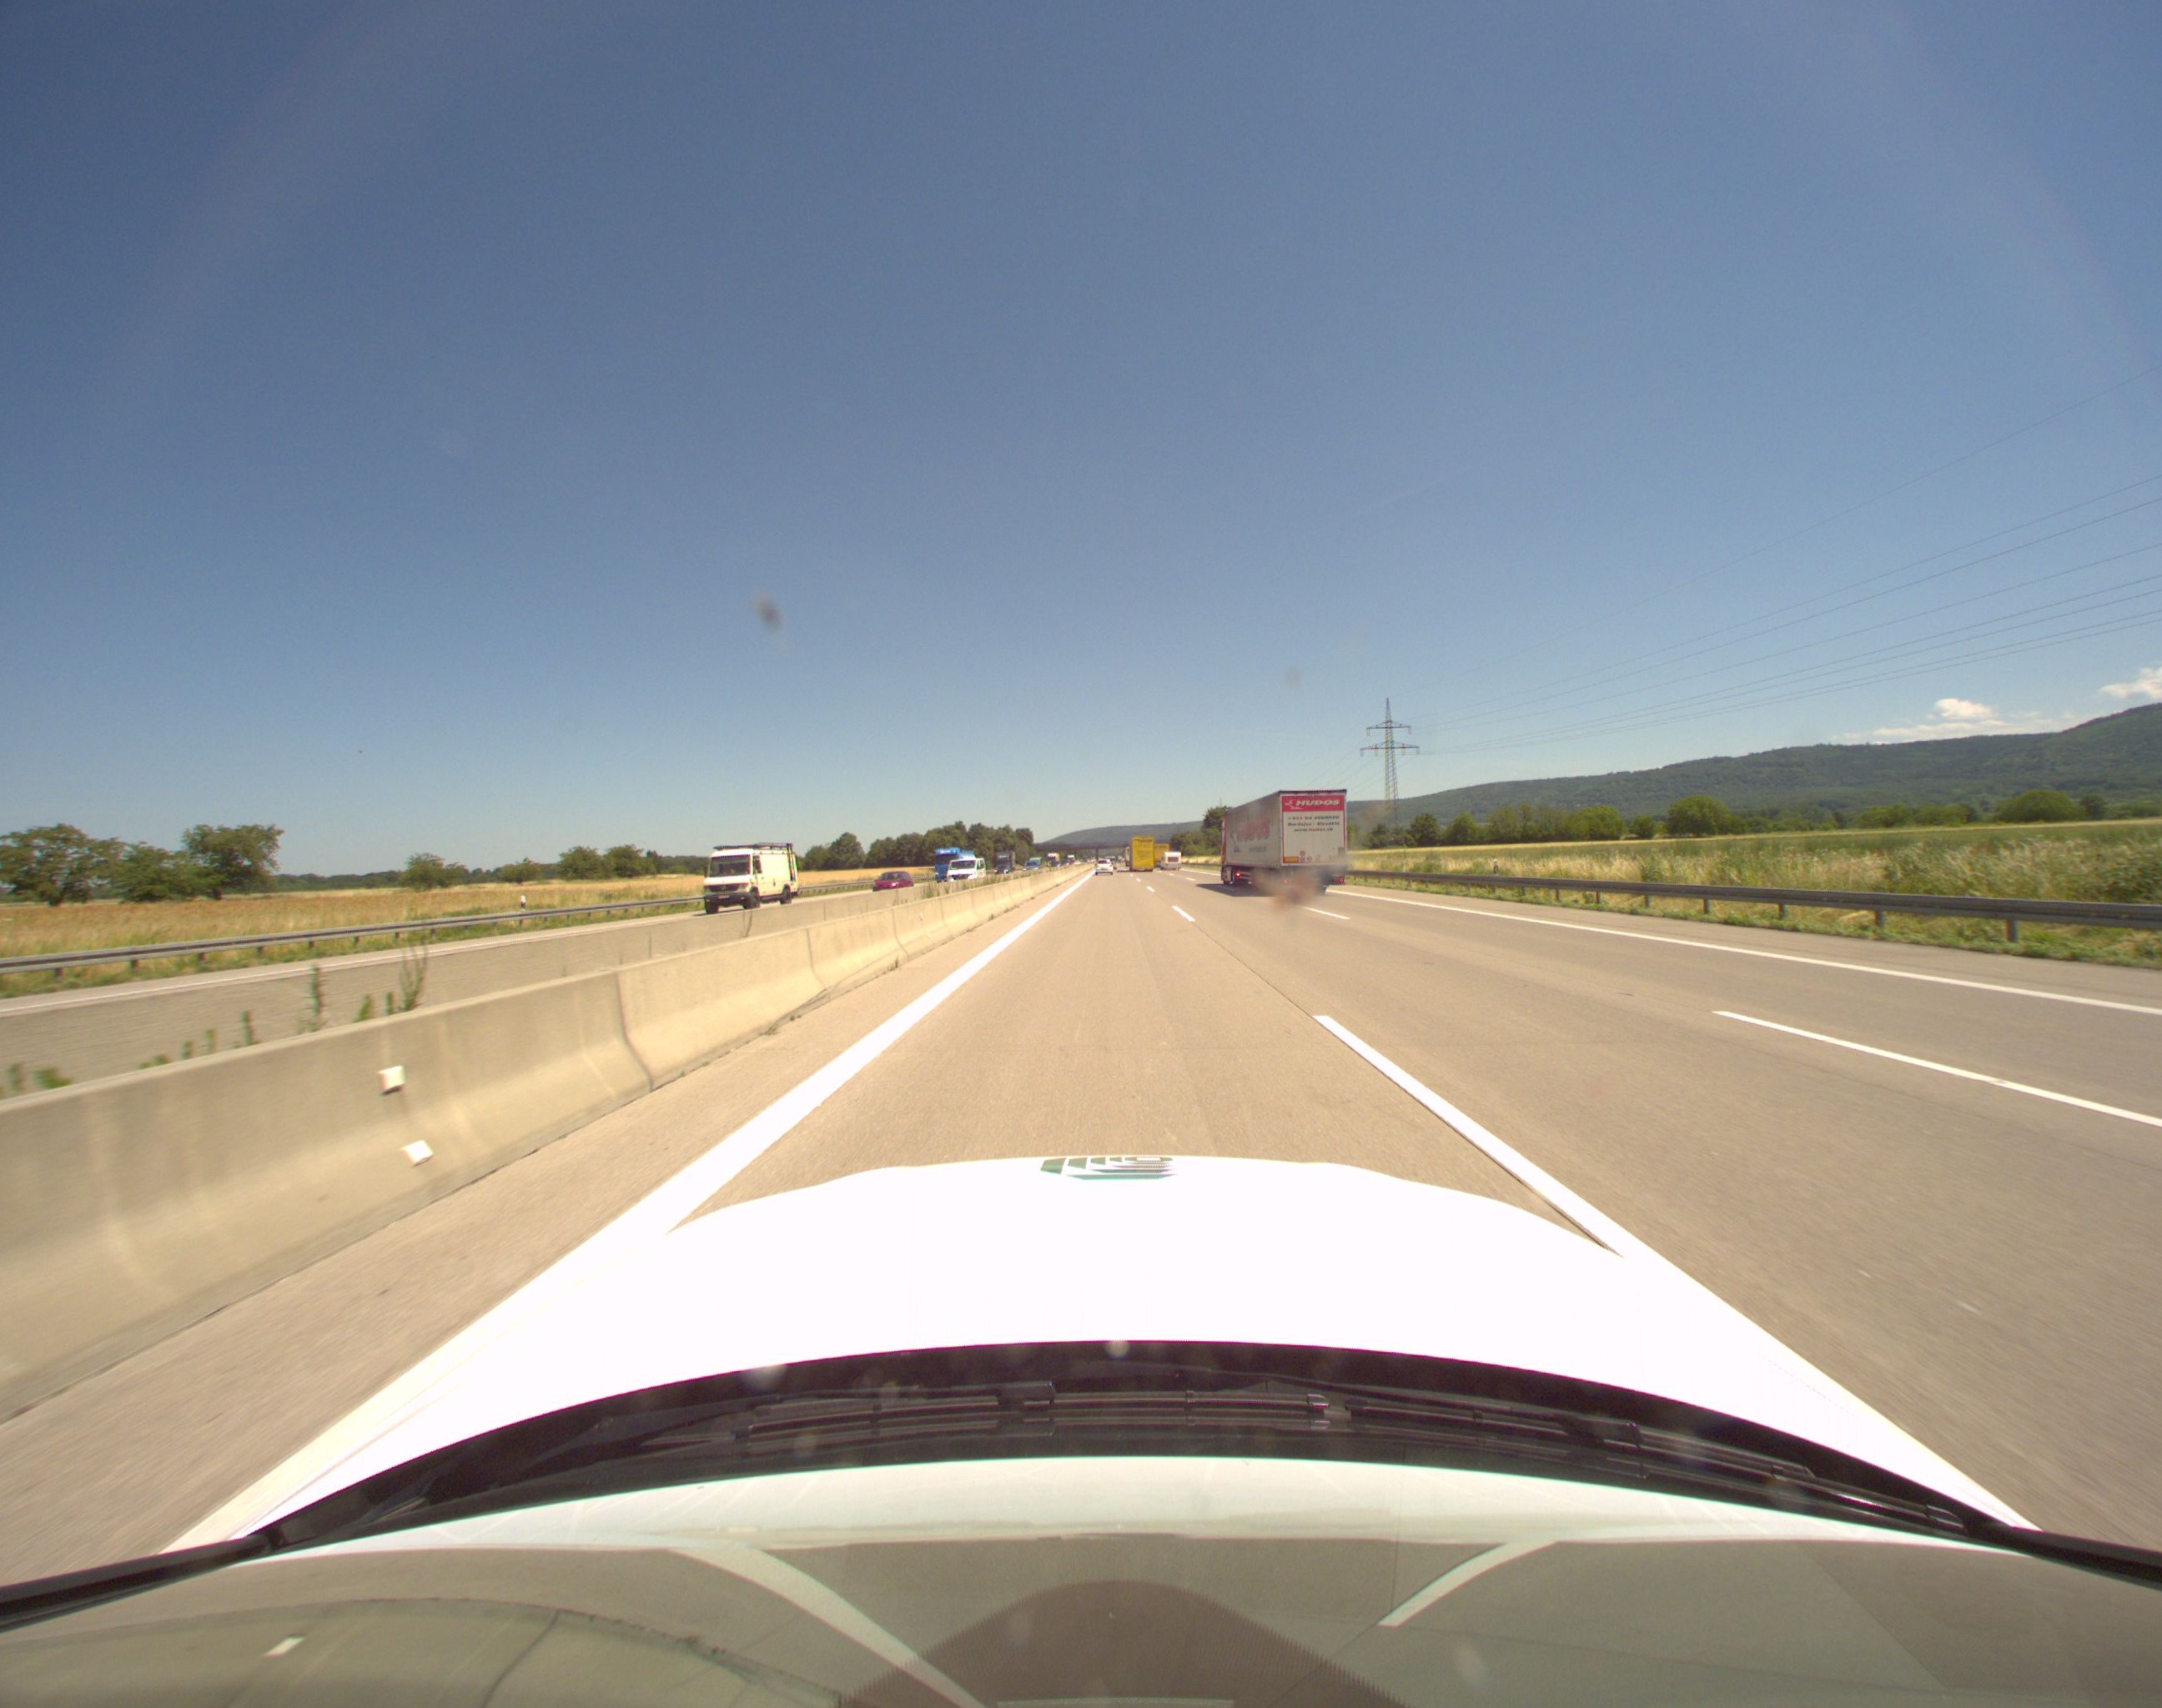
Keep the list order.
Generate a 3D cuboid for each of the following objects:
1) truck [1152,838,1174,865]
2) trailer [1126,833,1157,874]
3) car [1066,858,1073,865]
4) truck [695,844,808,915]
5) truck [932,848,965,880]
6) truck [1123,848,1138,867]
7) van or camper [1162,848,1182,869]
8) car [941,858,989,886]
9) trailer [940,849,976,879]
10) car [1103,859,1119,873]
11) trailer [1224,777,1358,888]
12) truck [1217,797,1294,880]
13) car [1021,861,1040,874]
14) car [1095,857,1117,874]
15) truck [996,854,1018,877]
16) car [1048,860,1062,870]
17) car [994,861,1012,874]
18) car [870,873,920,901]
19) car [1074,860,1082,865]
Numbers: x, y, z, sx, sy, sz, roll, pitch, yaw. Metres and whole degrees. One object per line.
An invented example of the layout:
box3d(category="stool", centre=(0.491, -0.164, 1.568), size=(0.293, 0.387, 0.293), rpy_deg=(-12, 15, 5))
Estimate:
box3d(category="truck", centre=(13.499, -0.324, 134.901), size=(2.987, 4.314, 9.689), rpy_deg=(0, 0, 2))
box3d(category="trailer", centre=(7.154, -0.045, 98.032), size=(3.203, 4.564, 13.464), rpy_deg=(0, 0, 2))
box3d(category="car", centre=(-3.633, 2.238, 254.544), size=(1.987, 2.013, 3.999), rpy_deg=(-2, 0, 0))
box3d(category="truck", centre=(-15.493, 1.128, 38.882), size=(2.313, 3.084, 6.981), rpy_deg=(0, 0, 2))
box3d(category="truck", centre=(-14.013, 1.009, 86.640), size=(2.475, 3.309, 5.265), rpy_deg=(0, 0, 1))
box3d(category="truck", centre=(10.026, 0.627, 163.969), size=(2.809, 3.761, 6.286), rpy_deg=(0, 0, 2))
box3d(category="van or camper", centre=(11.746, 0.564, 105.241), size=(2.216, 2.531, 5.433), rpy_deg=(0, 0, 2))
box3d(category="car", centre=(-7.519, 1.138, 53.434), size=(2.130, 1.679, 5.647), rpy_deg=(-2, 0, 2))
box3d(category="trailer", centre=(-13.901, 1.079, 92.924), size=(2.506, 3.272, 9.255), rpy_deg=(0, 0, 1))
box3d(category="car", centre=(4.375, 1.681, 119.547), size=(2.245, 2.014, 4.301), rpy_deg=(0, 0, 3))
box3d(category="trailer", centre=(8.964, -0.784, 36.906), size=(2.863, 4.100, 13.516), rpy_deg=(0, 0, 1))
box3d(category="truck", centre=(9.157, -0.762, 43.497), size=(2.895, 4.101, 6.273), rpy_deg=(0, 0, 1))
box3d(category="car", centre=(-5.584, 1.518, 91.133), size=(1.773, 1.348, 4.453), rpy_deg=(1, 0, 1))
box3d(category="car", centre=(2.466, 1.095, 79.525), size=(2.098, 1.536, 4.126), rpy_deg=(0, 0, 3))
box3d(category="truck", centre=(-12.179, 1.897, 135.294), size=(2.545, 3.512, 7.888), rpy_deg=(-3, 0, 2))
box3d(category="car", centre=(-4.344, 1.806, 136.454), size=(1.933, 1.558, 4.890), rpy_deg=(-2, 0, 2))
box3d(category="car", centre=(-9.541, 1.662, 99.838), size=(1.713, 1.448, 4.709), rpy_deg=(0, 0, 2))
box3d(category="car", centre=(-10.886, 1.907, 47.936), size=(1.682, 1.459, 4.489), rpy_deg=(-2, 0, 2))
box3d(category="car", centre=(-0.738, 2.276, 224.297), size=(1.986, 1.364, 4.672), rpy_deg=(-4, 0, 2))
